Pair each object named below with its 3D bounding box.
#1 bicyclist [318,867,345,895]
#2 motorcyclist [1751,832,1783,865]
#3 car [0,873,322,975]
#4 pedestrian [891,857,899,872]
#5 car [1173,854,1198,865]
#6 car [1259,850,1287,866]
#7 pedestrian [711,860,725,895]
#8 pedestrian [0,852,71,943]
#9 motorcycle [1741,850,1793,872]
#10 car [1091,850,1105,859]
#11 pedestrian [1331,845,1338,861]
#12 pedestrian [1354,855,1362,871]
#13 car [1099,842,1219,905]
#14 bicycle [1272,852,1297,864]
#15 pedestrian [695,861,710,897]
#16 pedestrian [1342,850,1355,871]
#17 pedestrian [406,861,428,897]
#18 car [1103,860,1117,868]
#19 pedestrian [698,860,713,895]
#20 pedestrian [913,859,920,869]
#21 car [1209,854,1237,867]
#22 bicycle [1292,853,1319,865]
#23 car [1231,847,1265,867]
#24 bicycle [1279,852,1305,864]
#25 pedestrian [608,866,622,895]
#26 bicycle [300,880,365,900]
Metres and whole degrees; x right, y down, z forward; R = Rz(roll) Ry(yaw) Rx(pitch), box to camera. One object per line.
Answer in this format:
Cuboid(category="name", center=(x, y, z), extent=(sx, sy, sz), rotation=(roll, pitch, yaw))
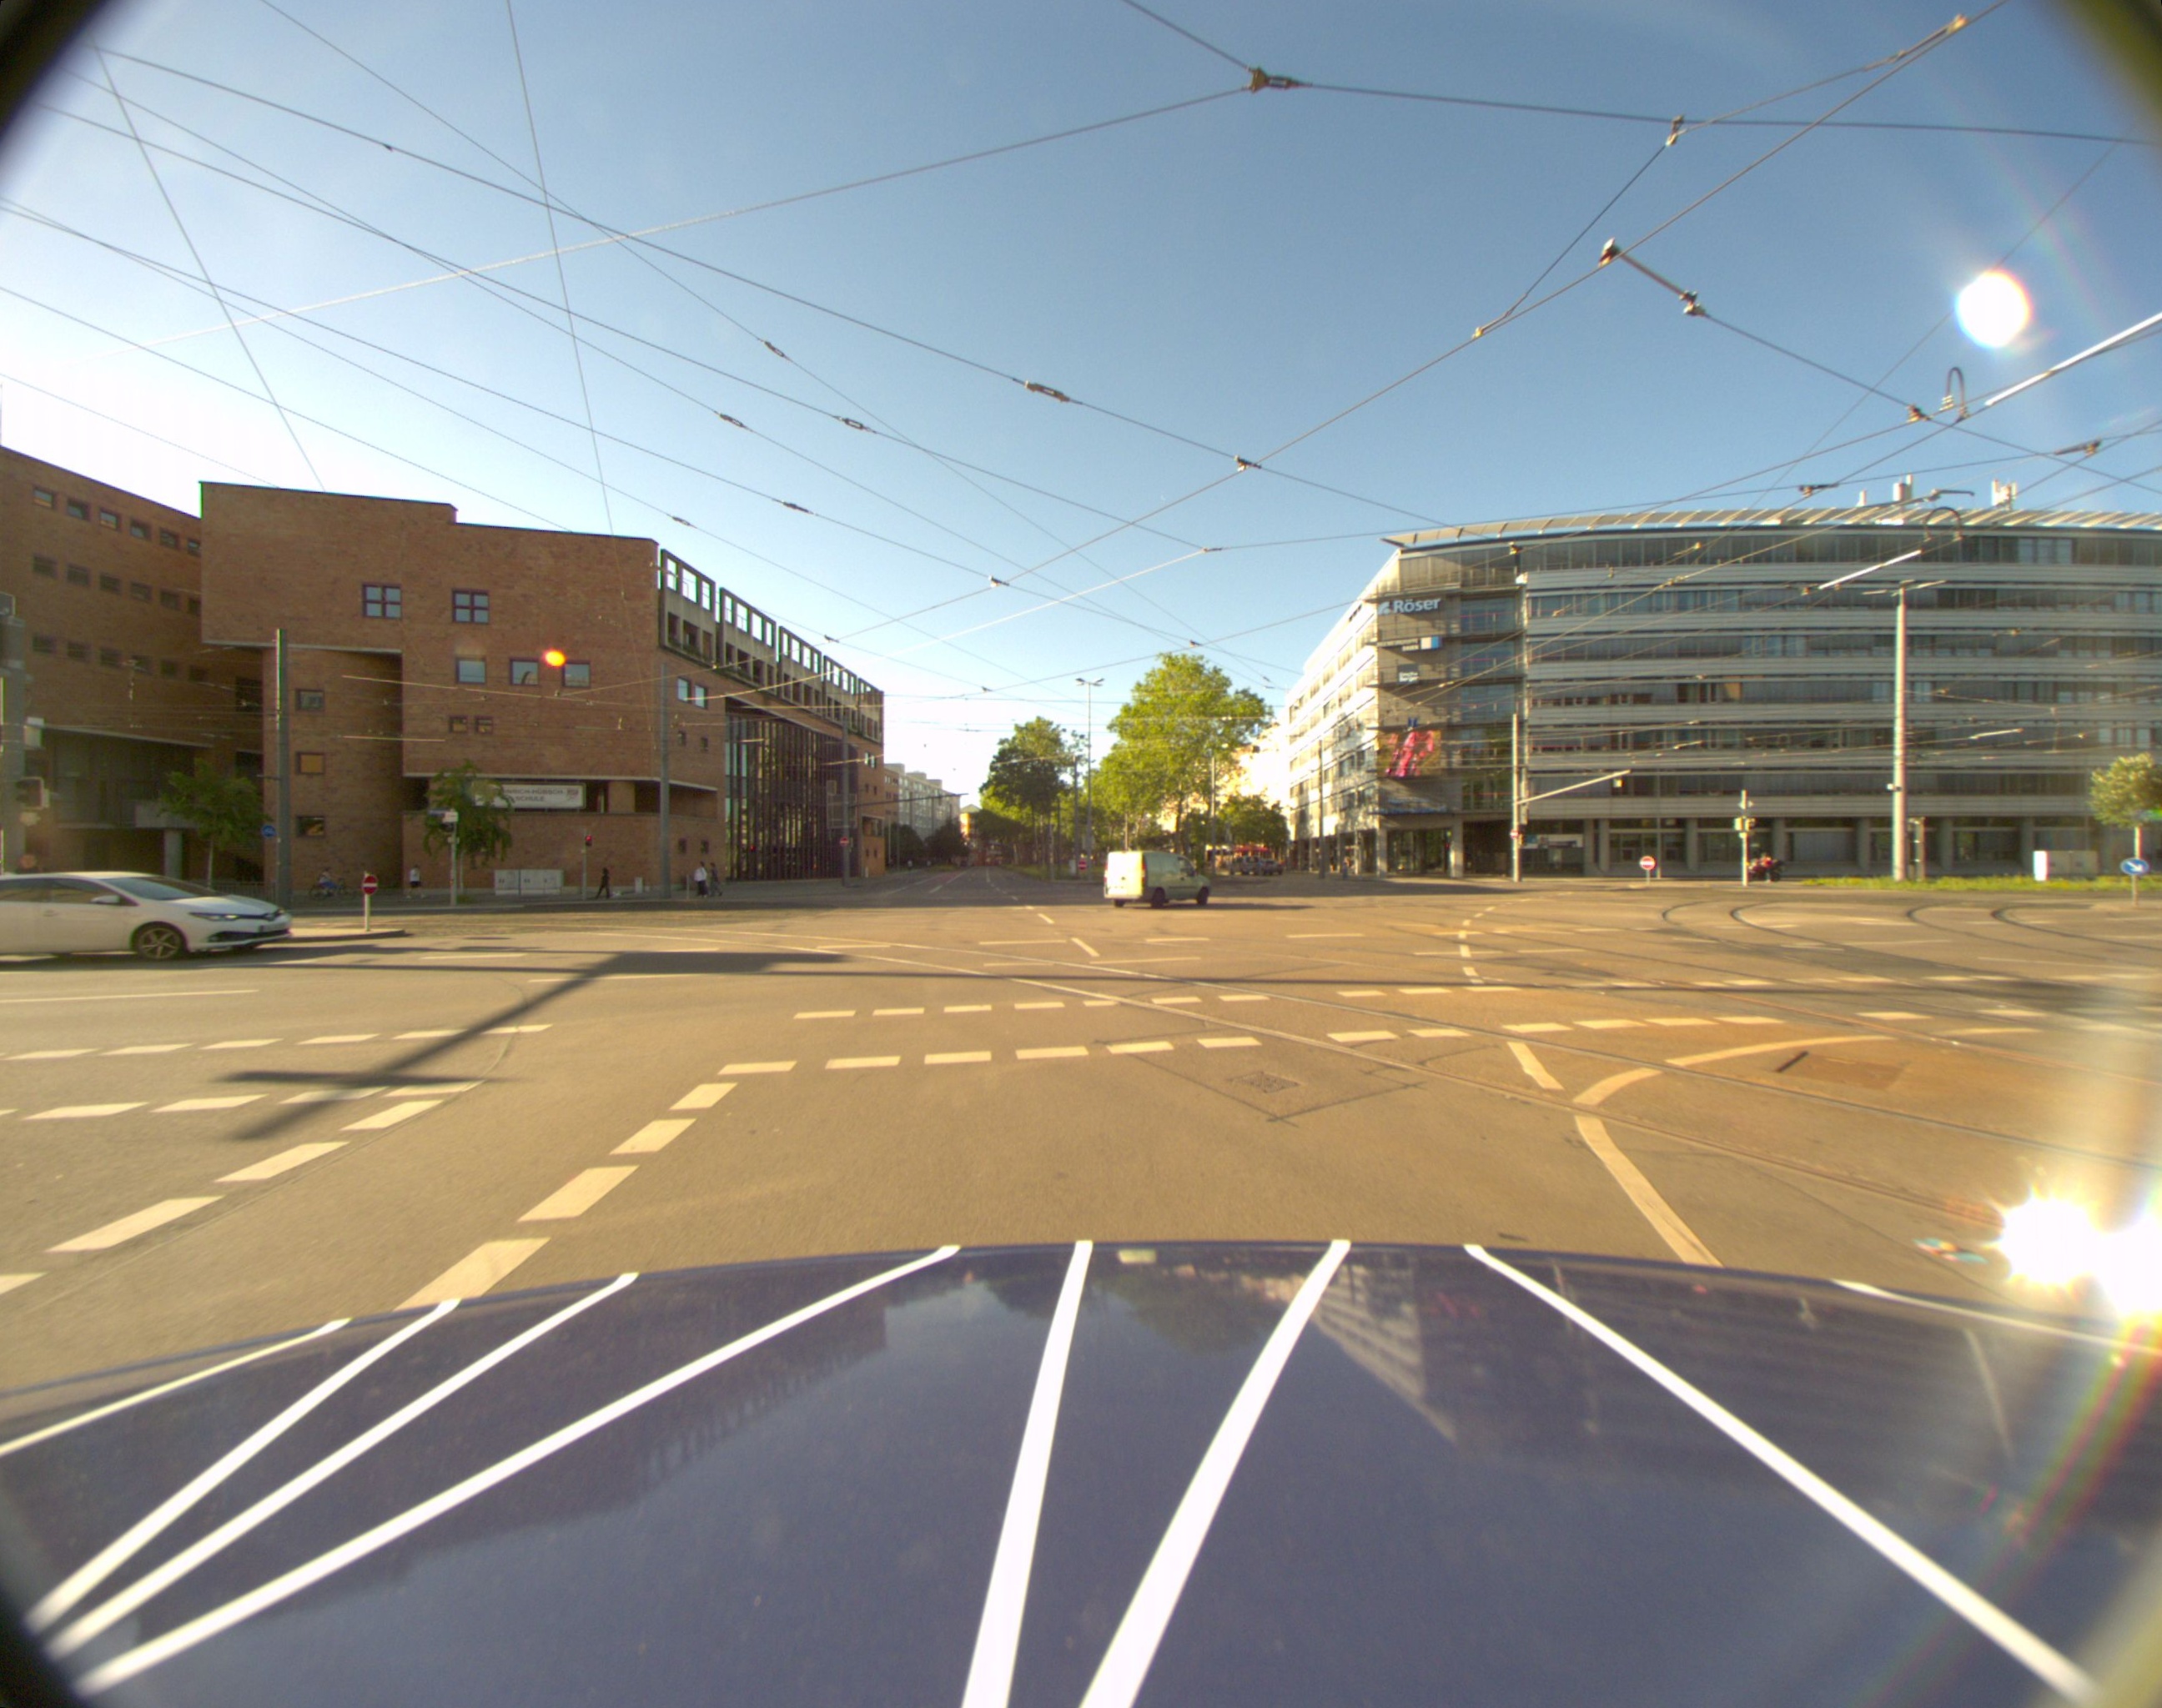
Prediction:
Cuboid(category="bicyclist", center=(-36.623, 1.314, 37.118), extent=(0.652, 1.331, 0.647), rotation=(-1, 0, -7))
Cuboid(category="motorcyclist", center=(39.787, -0.319, 44.088), extent=(1.111, 1.846, 0.821), rotation=(0, 1, 0))
Cuboid(category="car", center=(-16.114, 1.125, 12.822), extent=(4.299, 1.440, 1.842), rotation=(-1, 2, -12))
Cuboid(category="pedestrian", center=(-21.157, 1.197, 86.538), extent=(0.813, 1.596, 0.686), rotation=(0, 0, -20))
Cuboid(category="car", center=(13.853, 0.710, 100.931), extent=(1.868, 1.466, 3.973), rotation=(0, 0, -13))
Cuboid(category="car", center=(18.013, 0.382, 71.532), extent=(1.865, 1.466, 3.979), rotation=(0, 0, 4))
Cuboid(category="pedestrian", center=(-18.526, 1.202, 38.785), extent=(0.549, 1.776, 0.572), rotation=(-1, 1, -16))
Cuboid(category="pedestrian", center=(-20.333, 0.829, 14.691), extent=(0.594, 1.717, 0.723), rotation=(-1, 1, -7))
Cuboid(category="motorcycle", center=(39.793, 0.398, 44.098), extent=(2.254, 1.214, 0.821), rotation=(0, 1, 0))
Cuboid(category="car", center=(3.535, 0.030, 160.172), extent=(1.824, 1.758, 4.312), rotation=(0, -2, -13))
Cuboid(category="pedestrian", center=(26.985, -0.085, 80.893), extent=(0.586, 1.723, 0.794), rotation=(-1, -1, 11))
Cuboid(category="pedestrian", center=(21.333, 0.684, 58.420), extent=(0.443, 1.203, 0.462), rotation=(0, 0, -1))
Cuboid(category="car", center=(2.613, 0.558, 24.753), extent=(1.839, 1.825, 4.115), rotation=(1, 2, 41))
Cuboid(category="bicycle", center=(20.828, 0.449, 77.829), extent=(2.396, 1.206, 0.774), rotation=(1, -1, -15))
Cuboid(category="pedestrian", center=(-19.023, 1.229, 38.206), extent=(0.549, 1.776, 0.572), rotation=(-1, 1, -16))
Cuboid(category="pedestrian", center=(20.728, 0.504, 58.872), extent=(0.660, 1.630, 0.793), rotation=(0, 0, -1))
Cuboid(category="pedestrian", center=(-33.626, 1.248, 38.461), extent=(0.573, 1.775, 0.549), rotation=(2, 0, -5))
Cuboid(category="car", center=(5.015, 1.726, 132.745), extent=(1.701, 1.466, 3.978), rotation=(0, 0, -11))
Cuboid(category="pedestrian", center=(-19.402, 1.202, 39.236), extent=(0.549, 1.776, 0.572), rotation=(-1, 1, -16))
Cuboid(category="pedestrian", center=(-23.113, 1.430, 106.703), extent=(0.812, 1.376, 0.687), rotation=(0, 0, -6))
Cuboid(category="car", center=(16.808, 0.767, 90.147), extent=(1.868, 1.466, 3.973), rotation=(0, 0, -13))
Cuboid(category="bicycle", center=(21.668, 0.495, 73.319), extent=(2.392, 1.206, 0.776), rotation=(0, -1, 5))
Cuboid(category="car", center=(16.801, 0.326, 76.785), extent=(1.867, 2.004, 4.454), rotation=(0, 0, -8))
Cuboid(category="bicycle", center=(20.746, 0.411, 74.754), extent=(2.396, 1.206, 0.774), rotation=(1, -1, -15))
Cuboid(category="pedestrian", center=(-23.318, 1.315, 38.031), extent=(0.574, 1.468, 0.548), rotation=(0, 0, -26))
Cuboid(category="bicycle", center=(-36.556, 1.735, 37.131), extent=(2.345, 0.899, 0.650), rotation=(-1, 0, -7))
